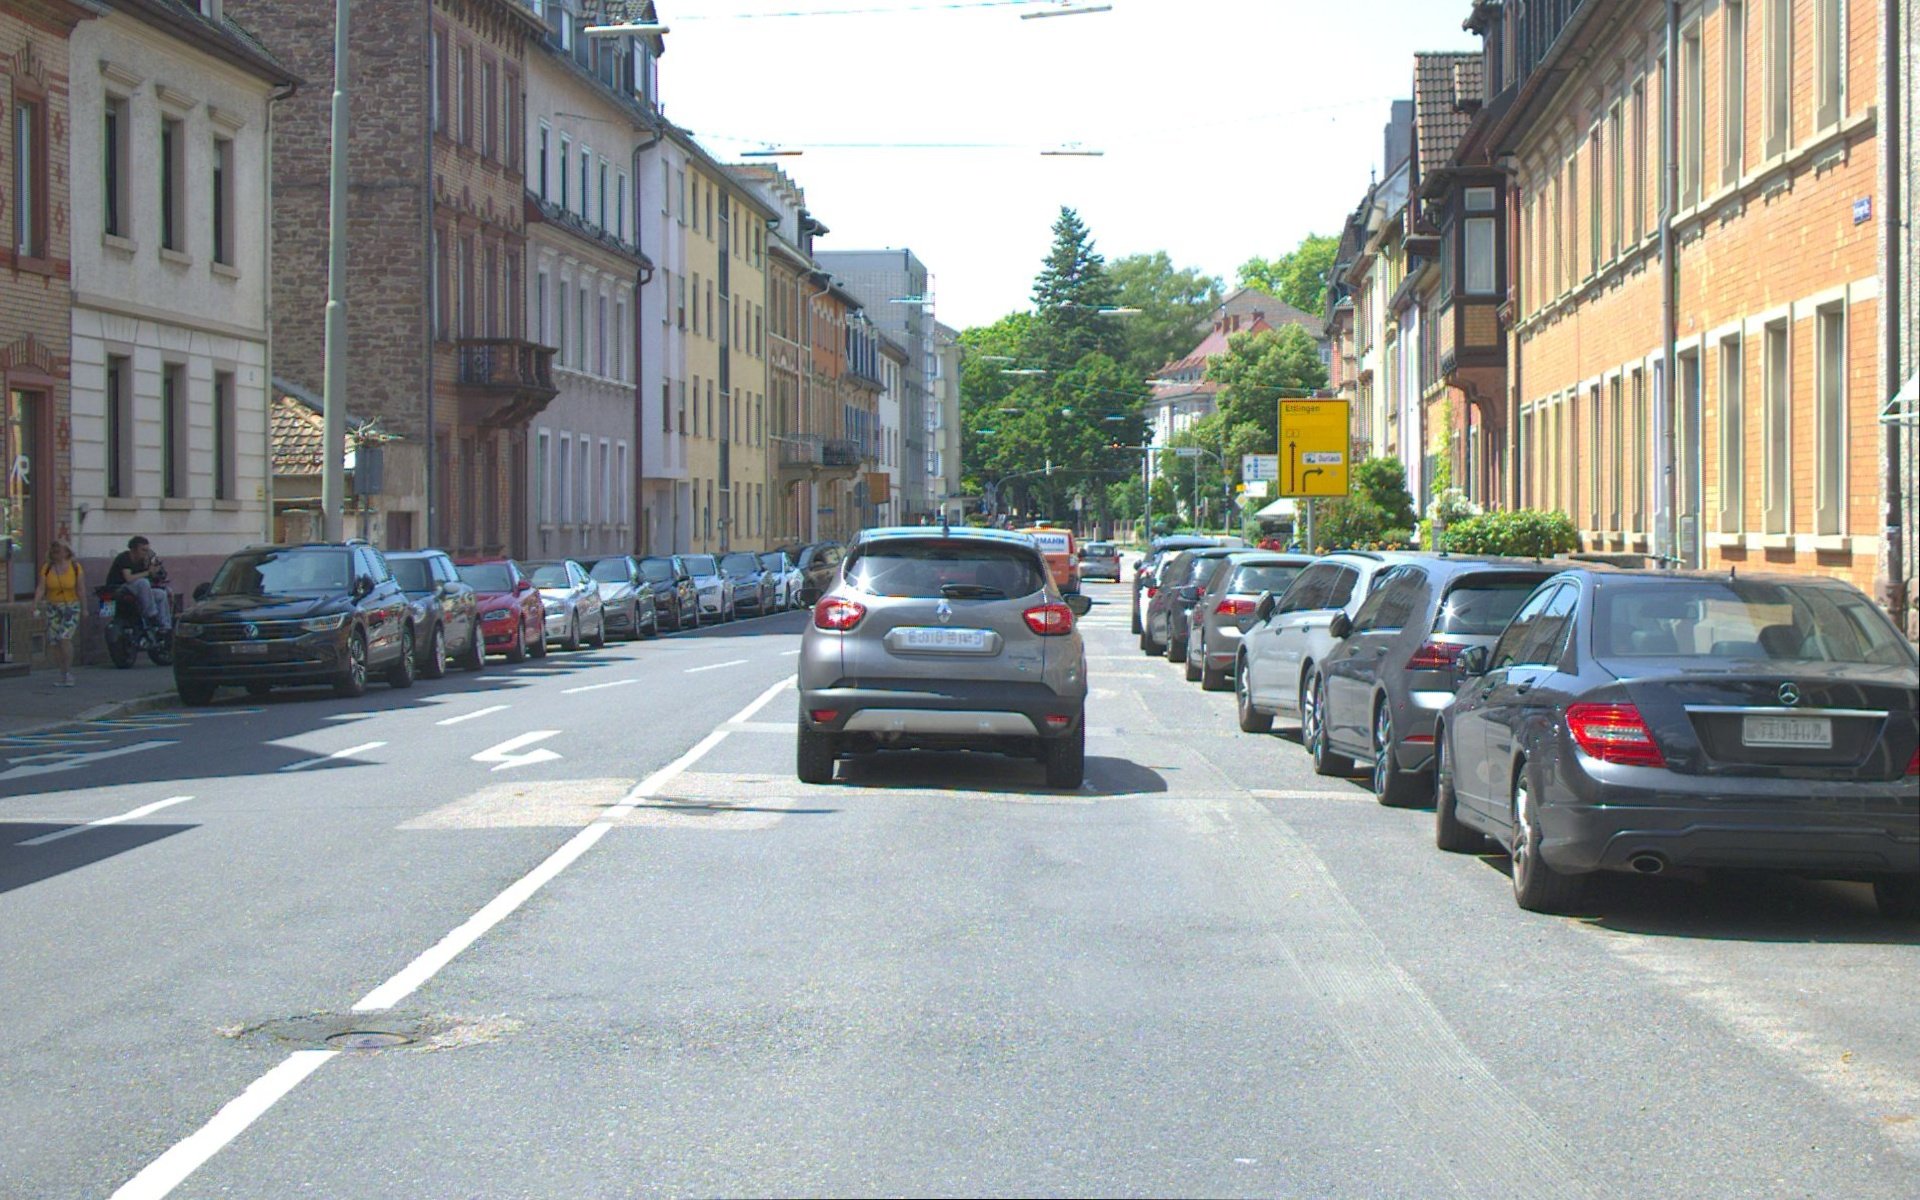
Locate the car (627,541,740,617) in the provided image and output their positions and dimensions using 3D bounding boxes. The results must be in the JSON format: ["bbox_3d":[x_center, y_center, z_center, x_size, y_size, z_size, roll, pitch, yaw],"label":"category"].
[{"bbox_3d":[-5.610,-0.447,70.248,1.840,1.417,4.502,-2,1,1],"label":"car"}]

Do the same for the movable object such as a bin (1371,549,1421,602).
[{"bbox_3d":[7.583,-0.421,59.819,0.788,0.904,0.539,-1,1,0],"label":"movable object such as a bin"}]

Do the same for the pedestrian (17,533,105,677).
[{"bbox_3d":[-9.547,0.041,36.526,0.608,1.490,0.971,1,1,3],"label":"pedestrian"}]

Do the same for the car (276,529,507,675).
[{"bbox_3d":[-6.887,-0.010,42.096,1.840,1.591,4.502,-3,1,2],"label":"car"}]

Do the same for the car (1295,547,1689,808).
[{"bbox_3d":[3.141,0.398,21.056,1.651,1.415,4.049,0,1,-2],"label":"car"}]

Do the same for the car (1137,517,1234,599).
[{"bbox_3d":[5.044,-0.967,77.414,1.860,1.742,4.618,2,1,0],"label":"car"}]

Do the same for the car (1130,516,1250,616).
[{"bbox_3d":[3.969,-0.614,59.934,1.994,1.656,4.625,-1,1,3],"label":"car"}]

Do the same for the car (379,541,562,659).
[{"bbox_3d":[-6.588,-0.039,46.699,1.839,1.417,4.503,-3,1,-1],"label":"car"}]

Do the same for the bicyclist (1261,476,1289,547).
[{"bbox_3d":[6.498,-1.820,70.952,0.532,1.464,0.791,-1,1,4],"label":"bicyclist"}]

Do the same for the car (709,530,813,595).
[{"bbox_3d":[-4.718,-0.898,81.928,1.840,1.417,4.557,-3,1,4],"label":"car"}]

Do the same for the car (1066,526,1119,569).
[{"bbox_3d":[4.895,-1.954,126.640,1.764,1.554,3.942,0,1,5],"label":"car"}]

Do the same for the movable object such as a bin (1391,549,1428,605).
[{"bbox_3d":[8.612,-0.440,65.876,0.659,1.051,0.748,0,1,4],"label":"movable object such as a bin"}]

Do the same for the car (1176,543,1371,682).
[{"bbox_3d":[3.285,0.093,36.673,1.700,1.376,4.167,1,1,0],"label":"car"}]

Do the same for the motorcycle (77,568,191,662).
[{"bbox_3d":[-9.878,0.166,41.181,0.845,1.075,1.871,0,1,2],"label":"motorcycle"}]

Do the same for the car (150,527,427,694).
[{"bbox_3d":[-6.984,0.072,36.207,1.840,1.591,4.502,-2,1,2],"label":"car"}]

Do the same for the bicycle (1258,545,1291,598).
[{"bbox_3d":[6.479,-0.602,70.937,0.593,1.062,1.882,-1,1,3],"label":"bicycle"}]

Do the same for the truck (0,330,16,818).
[{"bbox_3d":[-6.458,-0.092,15.172,2.225,2.761,7.564,-2,1,2],"label":"truck"}]

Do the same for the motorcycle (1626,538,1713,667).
[{"bbox_3d":[6.852,0.013,33.253,0.596,1.220,1.361,0,1,2],"label":"motorcycle"}]

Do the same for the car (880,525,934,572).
[{"bbox_3d":[-1.948,-1.910,126.962,1.904,1.614,4.303,-2,1,0],"label":"car"}]

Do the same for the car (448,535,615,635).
[{"bbox_3d":[-6.587,-0.252,53.286,1.840,1.417,4.502,-2,1,2],"label":"car"}]

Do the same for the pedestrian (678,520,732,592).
[{"bbox_3d":[-6.202,-1.071,83.608,1.151,1.744,0.969,0,1,5],"label":"pedestrian"}]

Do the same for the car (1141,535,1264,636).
[{"bbox_3d":[3.546,-0.243,50.786,1.716,1.409,4.589,-1,1,3],"label":"car"}]

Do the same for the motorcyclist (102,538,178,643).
[{"bbox_3d":[-9.828,-0.119,41.214,0.718,1.244,0.712,0,1,2],"label":"motorcyclist"}]

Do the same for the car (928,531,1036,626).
[{"bbox_3d":[0.426,-0.413,61.996,1.812,1.615,4.441,-1,1,2],"label":"car"}]

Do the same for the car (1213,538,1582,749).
[{"bbox_3d":[3.230,0.269,26.289,1.853,1.458,4.551,1,1,-5],"label":"car"}]

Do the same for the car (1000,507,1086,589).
[{"bbox_3d":[2.141,-1.344,87.711,1.994,2.007,4.466,-1,1,4],"label":"car"}]

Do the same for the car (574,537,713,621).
[{"bbox_3d":[-5.938,-0.425,65.002,1.840,1.417,4.502,-4,1,4],"label":"car"}]

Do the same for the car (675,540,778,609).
[{"bbox_3d":[-5.141,-0.576,76.164,1.840,1.417,4.646,-2,1,1],"label":"car"}]

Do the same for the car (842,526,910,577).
[{"bbox_3d":[-2.802,-1.628,115.306,1.905,1.614,4.302,-2,1,3],"label":"car"}]

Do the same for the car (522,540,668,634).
[{"bbox_3d":[-6.231,-0.249,59.142,1.840,1.417,4.502,-4,1,1],"label":"car"}]

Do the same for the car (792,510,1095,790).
[{"bbox_3d":[-0.173,0.250,22.046,1.744,1.611,4.001,1,1,-2],"label":"car"}]

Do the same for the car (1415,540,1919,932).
[{"bbox_3d":[3.137,0.481,15.303,1.711,1.468,4.438,0,1,1],"label":"car"}]

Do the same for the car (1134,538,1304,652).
[{"bbox_3d":[3.367,-0.094,45.388,1.648,1.409,4.502,1,1,-3],"label":"car"}]
